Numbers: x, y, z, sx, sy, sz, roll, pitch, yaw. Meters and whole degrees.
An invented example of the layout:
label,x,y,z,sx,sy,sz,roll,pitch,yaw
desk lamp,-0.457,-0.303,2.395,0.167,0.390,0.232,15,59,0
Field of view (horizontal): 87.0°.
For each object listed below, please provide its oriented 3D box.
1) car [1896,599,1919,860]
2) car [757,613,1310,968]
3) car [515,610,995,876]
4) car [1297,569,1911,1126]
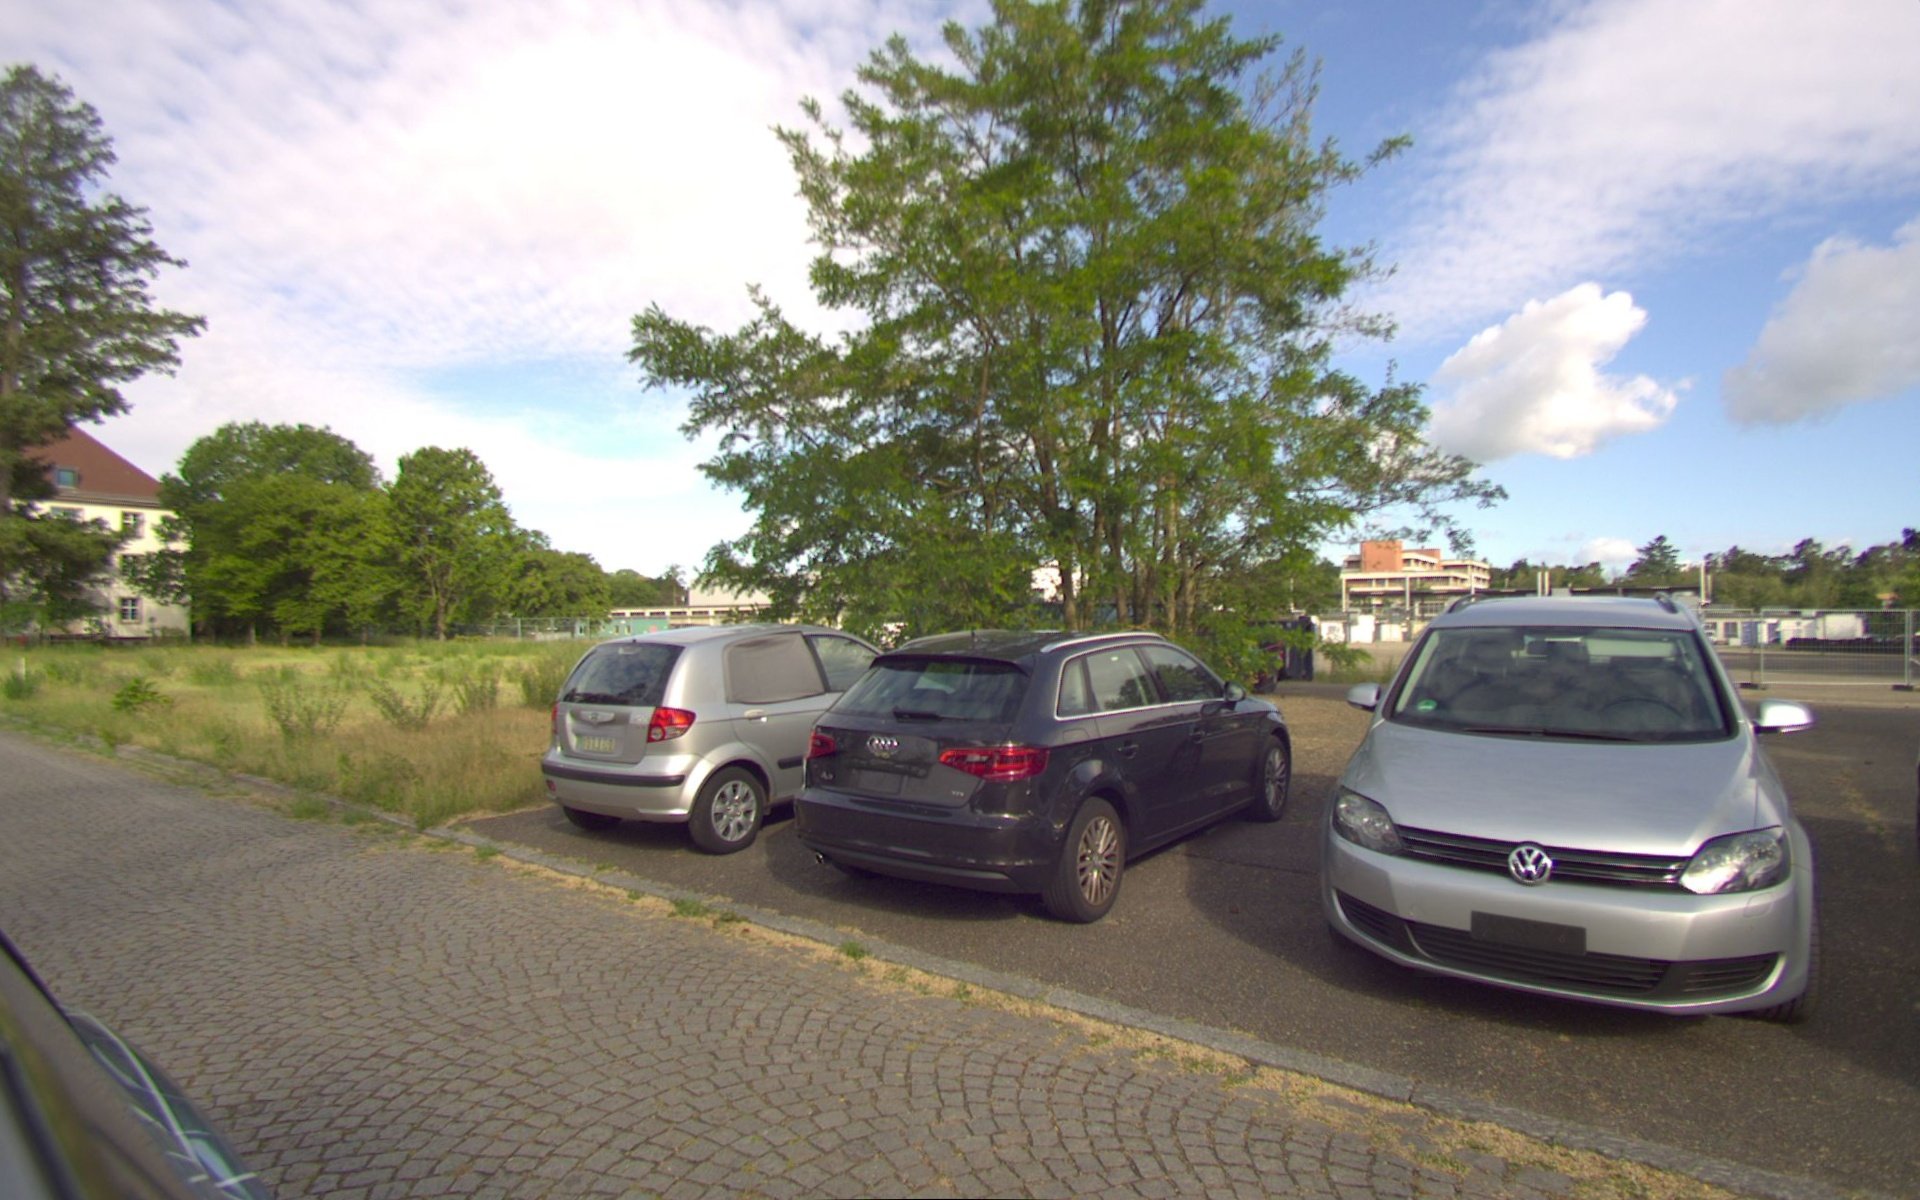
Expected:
label,x,y,z,sx,sy,sz,roll,pitch,yaw
car,5.118,0.756,3.675,1.825,1.453,4.441,-2,0,34
car,0.739,0.858,6.404,1.693,1.419,3.801,-2,0,37
car,-1.390,0.888,7.990,1.643,1.487,3.546,-1,0,35
car,3.121,0.710,5.012,1.731,1.619,3.798,-2,0,35
